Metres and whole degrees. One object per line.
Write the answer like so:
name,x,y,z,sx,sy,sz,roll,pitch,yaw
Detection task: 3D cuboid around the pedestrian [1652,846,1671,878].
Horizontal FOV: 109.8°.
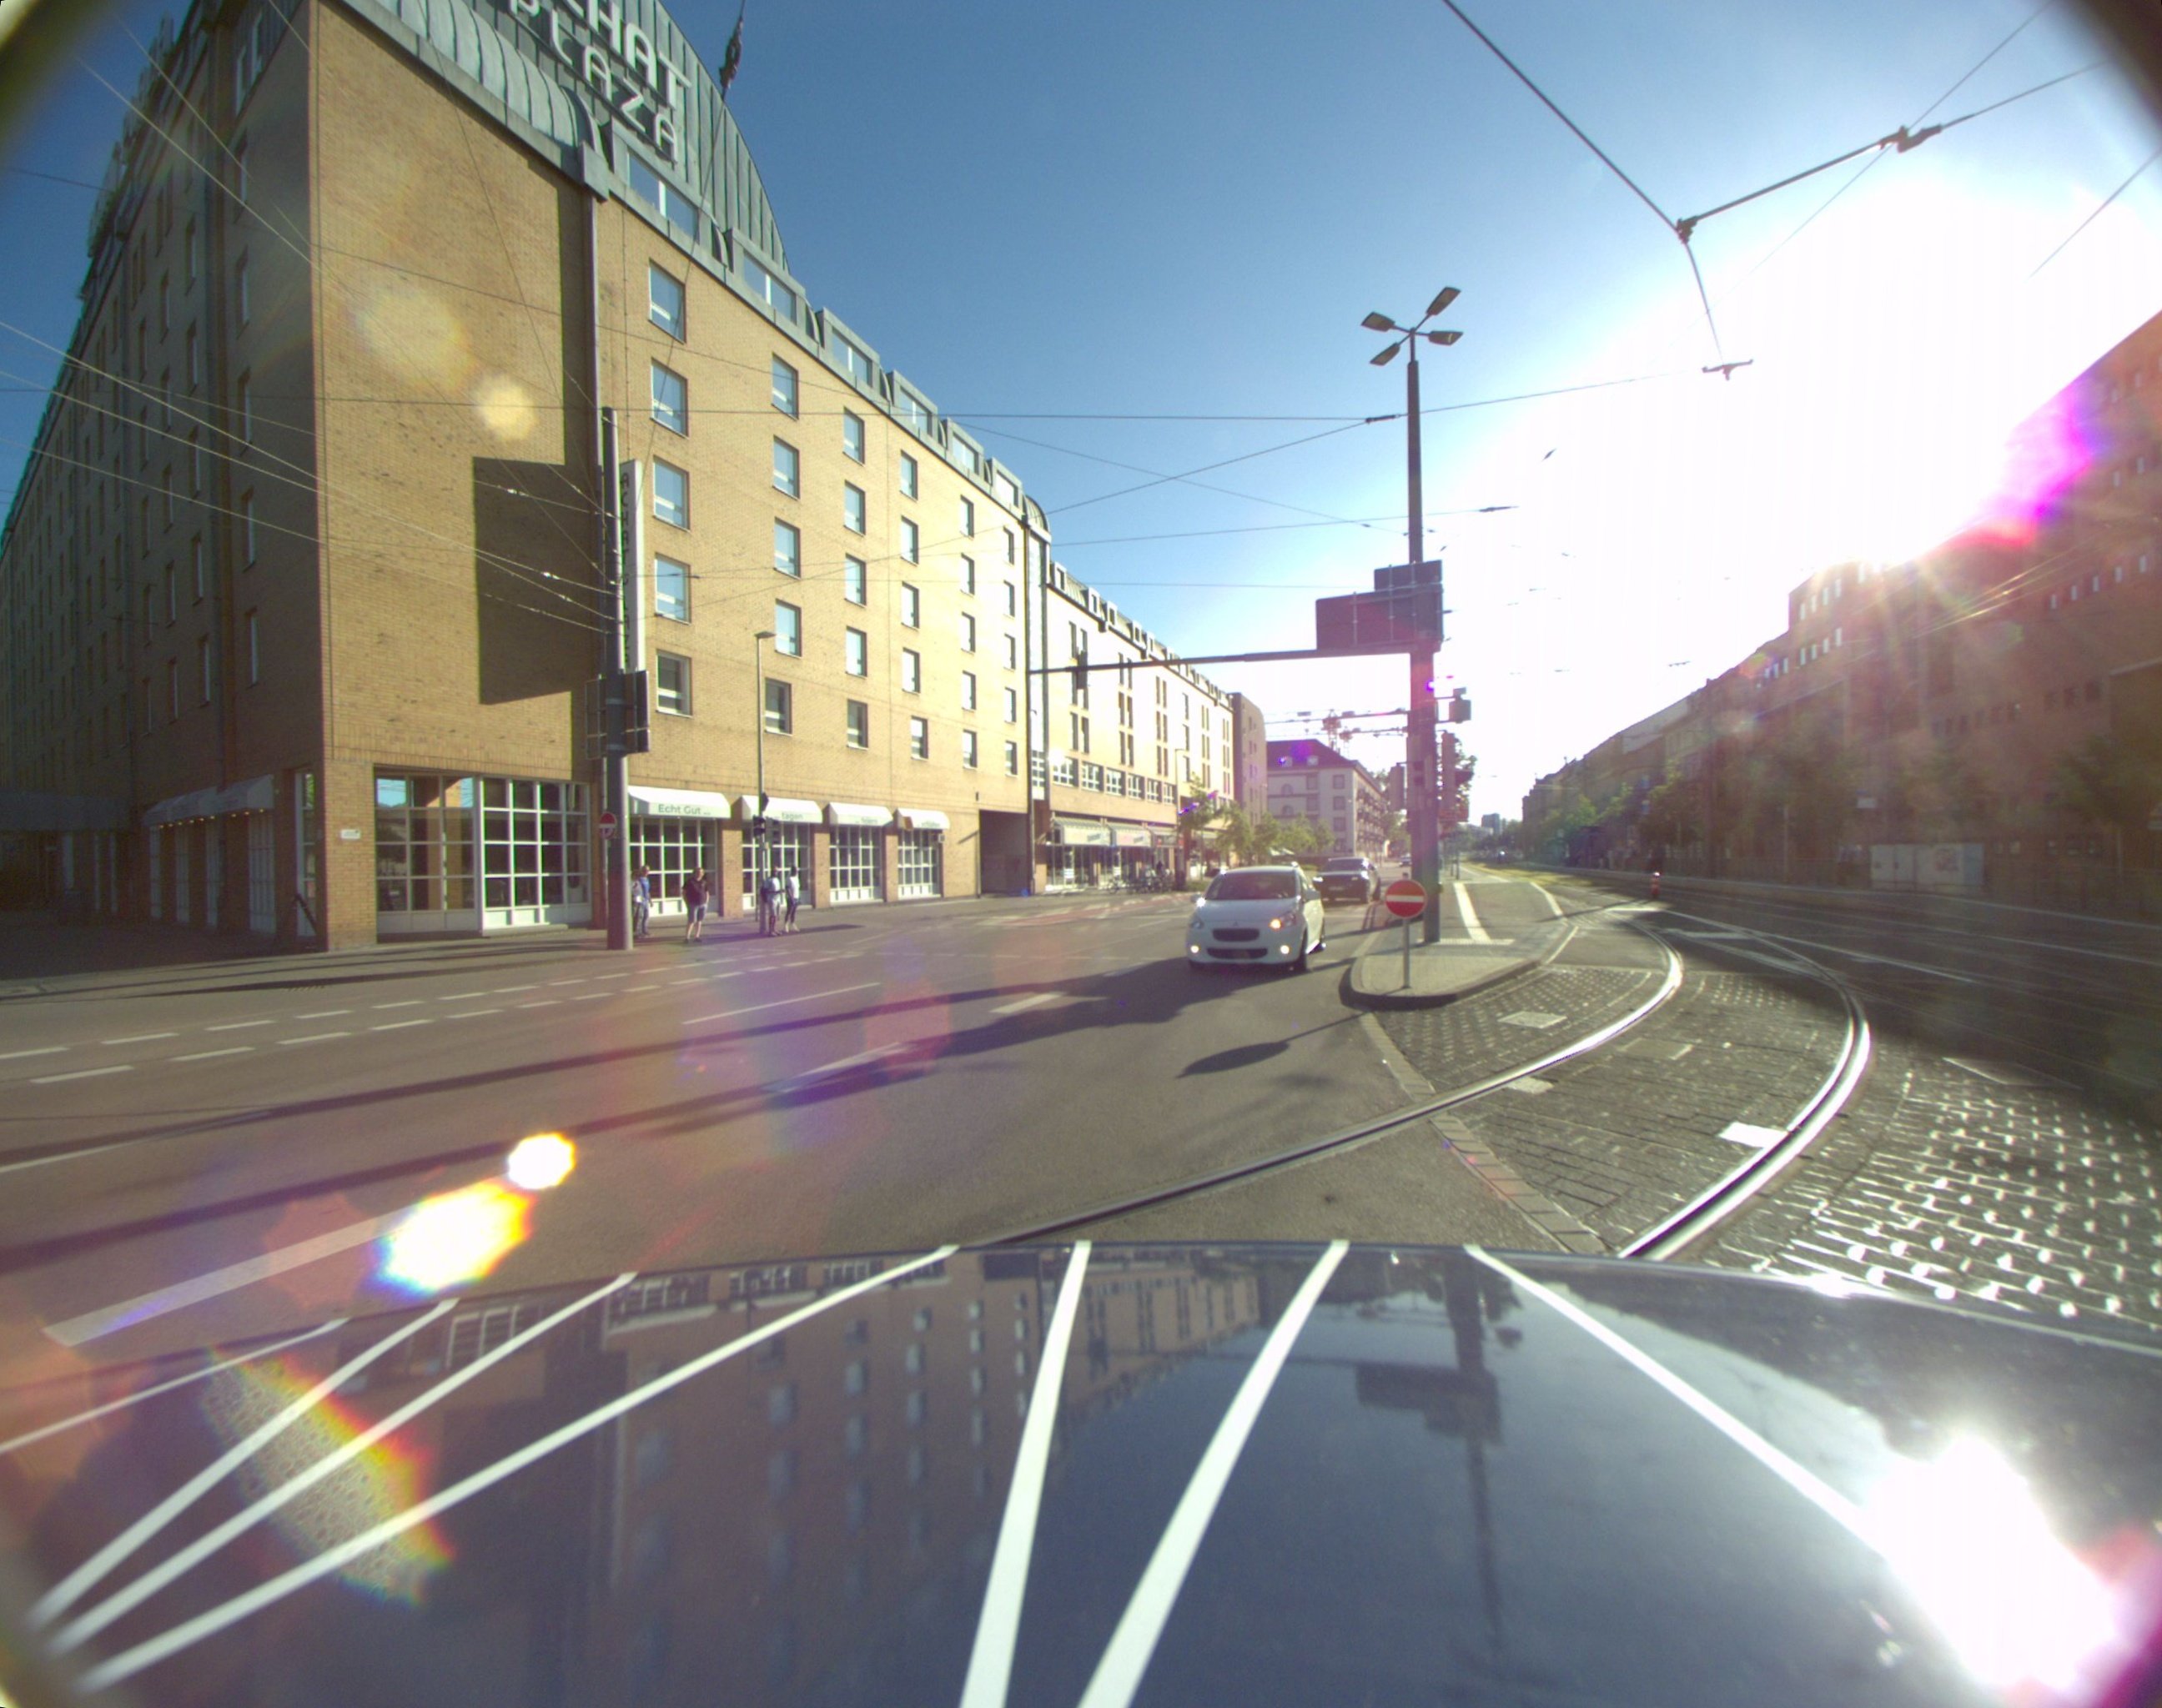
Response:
pedestrian,31.436,0.445,41.140,0.691,1.732,0.587,-1,1,23

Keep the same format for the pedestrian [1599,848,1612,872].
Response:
pedestrian,38.703,0.466,56.052,0.691,1.732,0.587,-1,1,23

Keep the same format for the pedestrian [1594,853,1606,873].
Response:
pedestrian,39.974,0.704,58.514,0.691,1.566,0.587,-1,1,23

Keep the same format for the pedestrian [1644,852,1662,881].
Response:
pedestrian,33.981,0.728,45.144,0.691,1.732,0.587,-1,1,23

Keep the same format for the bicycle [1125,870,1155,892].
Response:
bicycle,3.371,1.545,43.227,0.554,1.142,1.770,-3,3,-44

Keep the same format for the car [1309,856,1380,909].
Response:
car,9.768,0.998,27.993,1.952,1.652,4.362,-2,0,25

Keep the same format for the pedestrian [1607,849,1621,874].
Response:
pedestrian,37.685,0.505,53.744,0.691,1.732,0.587,-1,1,23

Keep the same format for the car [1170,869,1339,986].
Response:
car,2.905,1.006,12.001,1.637,1.457,4.194,-2,-1,26

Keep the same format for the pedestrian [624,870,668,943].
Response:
pedestrian,-10.385,1.246,18.147,0.561,1.694,0.660,-2,1,29

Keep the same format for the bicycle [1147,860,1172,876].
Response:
bicycle,5.495,0.982,53.262,0.600,1.044,1.886,5,3,45

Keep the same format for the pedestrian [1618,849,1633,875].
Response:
pedestrian,36.535,0.553,50.982,0.691,1.732,0.587,-1,1,23

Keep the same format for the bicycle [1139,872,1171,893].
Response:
bicycle,4.304,1.643,44.126,1.771,1.135,0.554,0,3,28

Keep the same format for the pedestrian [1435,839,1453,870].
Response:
pedestrian,23.519,0.038,49.213,0.879,2.002,0.785,-1,1,13

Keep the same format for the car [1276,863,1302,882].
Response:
car,19.438,1.724,70.838,1.653,1.521,3.699,-2,0,26

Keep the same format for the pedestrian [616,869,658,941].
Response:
pedestrian,-10.843,1.233,18.561,0.602,1.717,0.604,-2,1,33

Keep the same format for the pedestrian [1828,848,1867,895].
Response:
pedestrian,25.307,0.585,25.099,0.700,1.526,0.655,-1,1,23

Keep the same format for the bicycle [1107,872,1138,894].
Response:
bicycle,2.294,1.591,42.213,0.554,1.142,1.770,-3,3,-44

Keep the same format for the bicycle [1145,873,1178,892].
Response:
bicycle,4.782,1.678,45.265,1.771,1.065,0.738,0,2,28

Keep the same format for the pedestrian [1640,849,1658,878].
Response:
pedestrian,34.311,0.572,45.900,0.691,1.732,0.587,-1,1,23

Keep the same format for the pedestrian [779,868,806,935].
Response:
pedestrian,-7.817,1.285,20.603,0.580,1.764,0.404,-1,2,-39

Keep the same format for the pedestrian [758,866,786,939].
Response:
pedestrian,-7.967,1.244,19.611,0.498,1.823,0.732,0,2,-9

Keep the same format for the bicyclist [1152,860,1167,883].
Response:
bicyclist,5.521,1.228,53.326,0.852,1.506,0.578,1,2,-44

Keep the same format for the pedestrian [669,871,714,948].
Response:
pedestrian,-9.099,1.282,17.777,0.572,1.757,0.696,-2,0,29

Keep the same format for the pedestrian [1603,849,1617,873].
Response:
pedestrian,38.109,0.490,54.775,0.691,1.732,0.587,-1,1,23
